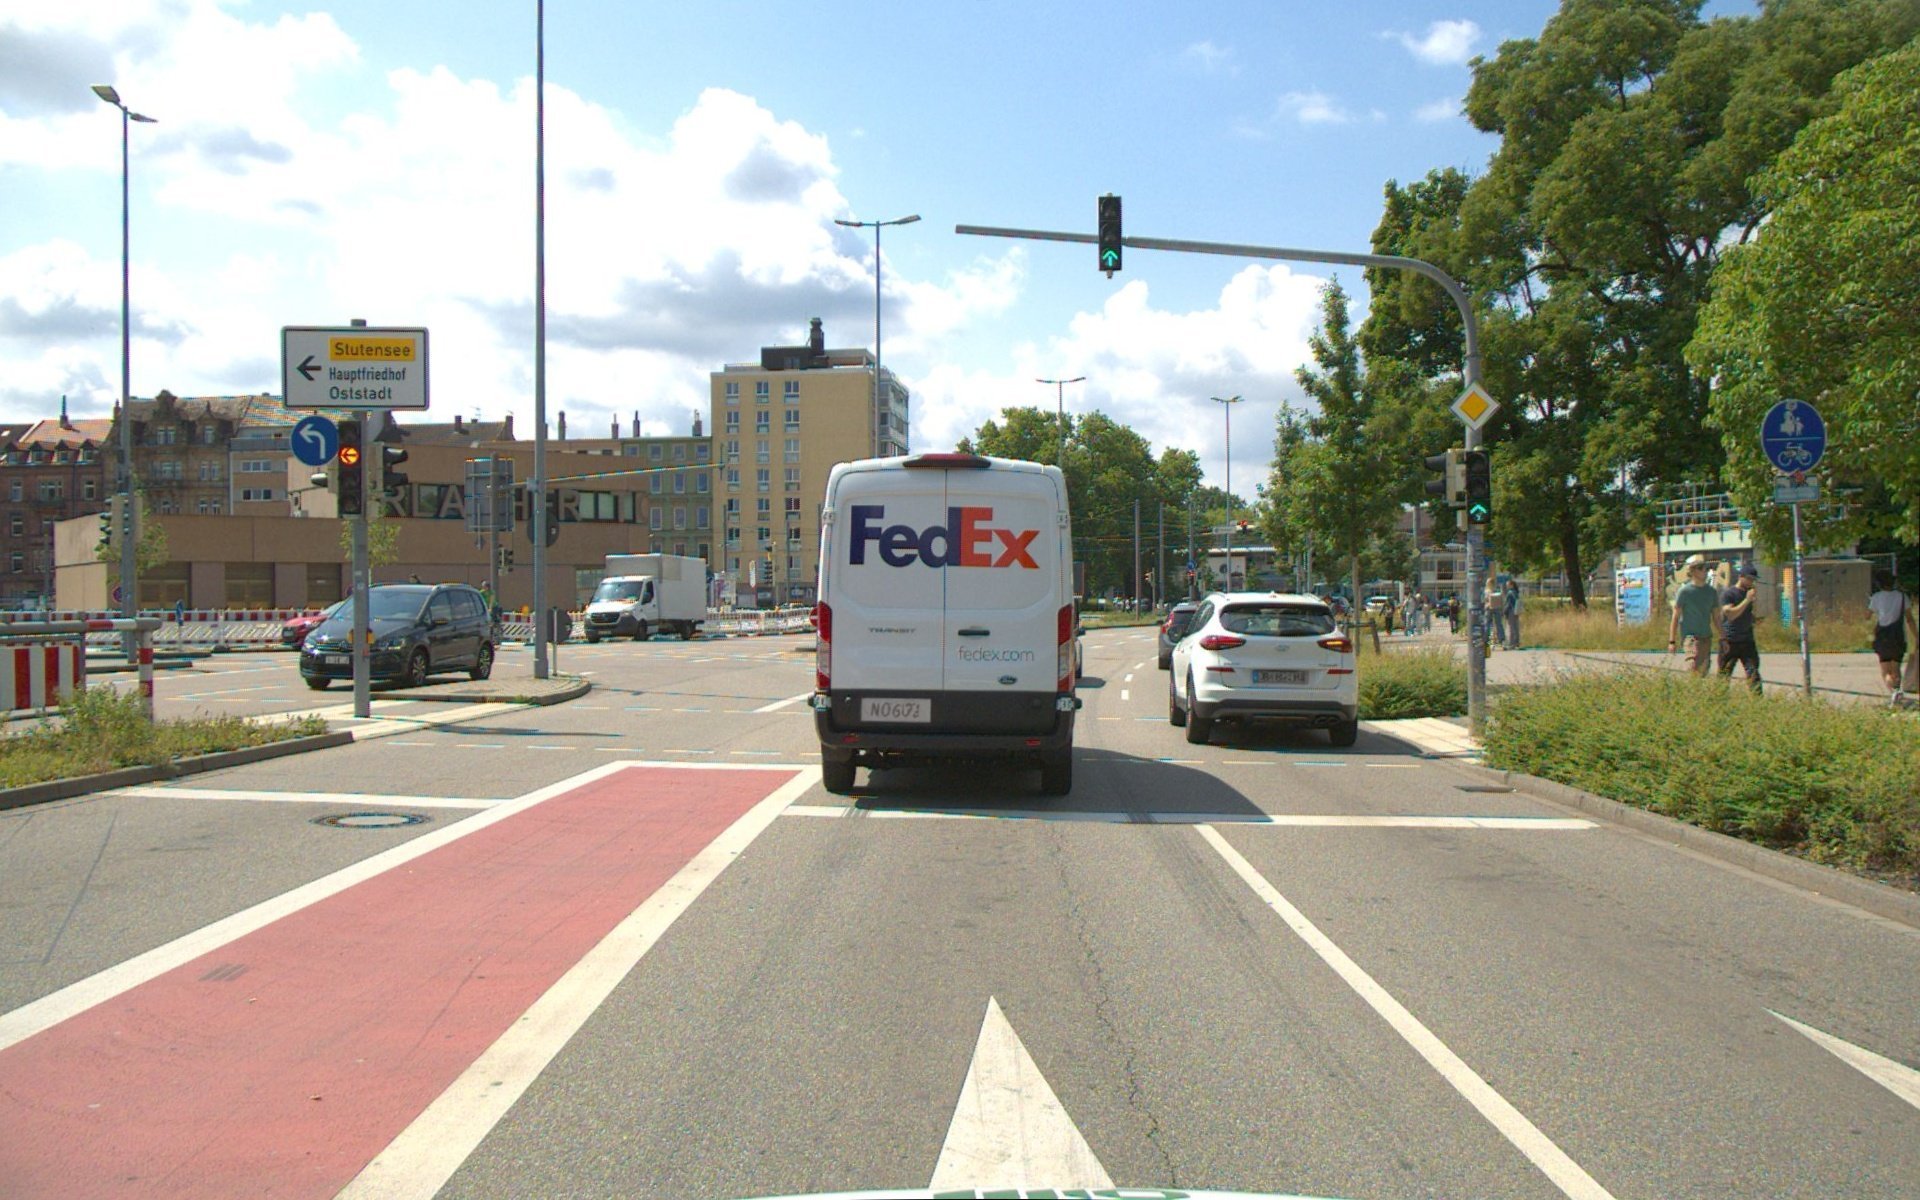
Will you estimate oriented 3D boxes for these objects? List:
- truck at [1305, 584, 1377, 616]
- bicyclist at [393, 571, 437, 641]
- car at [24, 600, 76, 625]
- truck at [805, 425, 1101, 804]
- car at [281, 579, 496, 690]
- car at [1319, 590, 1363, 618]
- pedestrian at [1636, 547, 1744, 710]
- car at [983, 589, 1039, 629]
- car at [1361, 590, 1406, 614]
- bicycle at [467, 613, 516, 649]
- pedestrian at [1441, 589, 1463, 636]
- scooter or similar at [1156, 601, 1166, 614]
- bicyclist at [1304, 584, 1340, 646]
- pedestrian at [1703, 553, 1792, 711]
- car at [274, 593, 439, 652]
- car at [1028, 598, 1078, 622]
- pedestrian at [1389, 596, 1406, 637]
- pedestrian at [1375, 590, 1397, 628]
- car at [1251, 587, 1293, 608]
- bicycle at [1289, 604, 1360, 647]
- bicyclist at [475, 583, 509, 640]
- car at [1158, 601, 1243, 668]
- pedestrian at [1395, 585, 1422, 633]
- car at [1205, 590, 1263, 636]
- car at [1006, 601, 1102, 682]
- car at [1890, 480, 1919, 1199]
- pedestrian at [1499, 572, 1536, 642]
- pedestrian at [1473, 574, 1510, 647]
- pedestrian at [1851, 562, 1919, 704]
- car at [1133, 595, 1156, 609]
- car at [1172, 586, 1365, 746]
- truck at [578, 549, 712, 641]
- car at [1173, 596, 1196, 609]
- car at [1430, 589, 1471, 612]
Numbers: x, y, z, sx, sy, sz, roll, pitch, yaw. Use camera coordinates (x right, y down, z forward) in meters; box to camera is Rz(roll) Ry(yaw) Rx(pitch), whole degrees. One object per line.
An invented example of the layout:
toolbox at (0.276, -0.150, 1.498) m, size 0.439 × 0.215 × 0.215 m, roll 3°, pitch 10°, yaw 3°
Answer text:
truck at (35.967, 0.001, 155.941) m, size 2.842 × 2.902 × 8.744 m, roll -1°, pitch 0°, yaw 41°
bicyclist at (-13.106, 0.139, 39.793) m, size 0.760 × 1.647 × 0.843 m, roll -1°, pitch 0°, yaw 1°
car at (-90.162, 1.248, 163.848) m, size 4.020 × 2.384 × 2.001 m, roll 1°, pitch -1°, yaw 4°
truck at (-0.039, 0.115, 14.780) m, size 2.093 × 2.686 × 5.917 m, roll 1°, pitch 0°, yaw 0°
car at (-9.173, 0.510, 26.930) m, size 1.842 × 1.652 × 4.157 m, roll 0°, pitch 0°, yaw 3°
car at (23.352, 0.245, 101.323) m, size 1.844 × 1.670 × 3.954 m, roll -1°, pitch 0°, yaw 25°
pedestrian at (8.368, 0.317, 18.986) m, size 0.735 × 1.808 × 0.880 m, roll -2°, pitch 0°, yaw -7°
car at (2.709, 0.499, 86.632) m, size 1.951 × 2.049 × 4.125 m, roll 0°, pitch -1°, yaw 16°
car at (29.534, 0.135, 115.326) m, size 1.848 × 1.670 × 3.945 m, roll -1°, pitch 0°, yaw 33°
bicycle at (-12.507, 0.818, 44.178) m, size 0.555 × 0.905 × 1.744 m, roll -1°, pitch 0°, yaw 9°
pedestrian at (19.706, 0.509, 66.220) m, size 0.740 × 1.853 × 0.674 m, roll 1°, pitch -1°, yaw 8°
scooter or similar at (18.330, 0.670, 151.124) m, size 0.372 × 1.135 × 1.089 m, roll 0°, pitch -1°, yaw 41°
bicyclist at (9.883, 0.408, 45.168) m, size 0.810 × 1.629 × 0.580 m, roll -3°, pitch -2°, yaw 5°
pedestrian at (9.070, 0.360, 19.074) m, size 0.654 × 1.777 × 0.608 m, roll -2°, pitch 0°, yaw -8°
car at (-16.721, 0.595, 45.892) m, size 3.869 × 1.512 × 1.971 m, roll -1°, pitch 0°, yaw -40°
car at (7.839, 0.843, 139.485) m, size 3.987 × 1.959 × 1.811 m, roll 1°, pitch -1°, yaw 11°
pedestrian at (18.081, 0.689, 68.293) m, size 0.575 × 1.654 × 0.728 m, roll 1°, pitch -1°, yaw 7°
pedestrian at (18.313, 0.387, 71.102) m, size 0.740 × 1.617 × 0.761 m, roll 1°, pitch -1°, yaw 0°
car at (29.420, -0.225, 155.872) m, size 1.693 × 1.832 × 4.711 m, roll -2°, pitch -1°, yaw 42°
bicycle at (9.940, 0.695, 45.160) m, size 1.771 × 1.068 × 0.592 m, roll -3°, pitch -2°, yaw 5°
bicyclist at (-12.507, 0.304, 44.223) m, size 0.553 × 1.487 × 0.837 m, roll -1°, pitch 0°, yaw 9°
car at (5.598, 0.776, 38.829) m, size 1.874 × 1.445 × 3.921 m, roll -1°, pitch 0°, yaw 7°
pedestrian at (17.822, 0.346, 65.675) m, size 0.740 × 1.853 × 0.780 m, roll -4°, pitch -1°, yaw 0°
car at (10.524, 0.484, 63.419) m, size 1.841 × 1.670 × 3.960 m, roll -1°, pitch 0°, yaw 14°
car at (1.757, 0.756, 31.966) m, size 1.705 × 1.416 × 4.180 m, roll -1°, pitch 0°, yaw 2°
car at (3.136, 0.622, 1.779) m, size 1.757 × 1.753 × 4.448 m, roll 1°, pitch 0°, yaw 0°
pedestrian at (14.412, 0.171, 42.772) m, size 0.734 × 1.783 × 0.610 m, roll -2°, pitch 0°, yaw 5°
pedestrian at (13.610, 0.260, 42.354) m, size 0.734 × 1.834 × 0.610 m, roll -2°, pitch 0°, yaw 5°
pedestrian at (10.967, 0.377, 19.367) m, size 0.653 × 1.624 × 0.647 m, roll -2°, pitch 0°, yaw -2°
car at (22.573, 0.270, 202.351) m, size 1.952 × 1.601 × 4.179 m, roll 0°, pitch -1°, yaw 20°
car at (3.498, 0.682, 19.434) m, size 1.841 × 1.670 × 4.235 m, roll -1°, pitch 0°, yaw 5°
truck at (-11.200, -0.123, 59.571) m, size 1.951 × 3.121 × 7.336 m, roll 0°, pitch -1°, yaw 13°
car at (27.203, 0.306, 200.274) m, size 1.952 × 1.601 × 4.179 m, roll 0°, pitch -1°, yaw 20°
car at (35.988, 0.030, 121.274) m, size 1.848 × 1.670 × 3.945 m, roll -1°, pitch 0°, yaw 33°
